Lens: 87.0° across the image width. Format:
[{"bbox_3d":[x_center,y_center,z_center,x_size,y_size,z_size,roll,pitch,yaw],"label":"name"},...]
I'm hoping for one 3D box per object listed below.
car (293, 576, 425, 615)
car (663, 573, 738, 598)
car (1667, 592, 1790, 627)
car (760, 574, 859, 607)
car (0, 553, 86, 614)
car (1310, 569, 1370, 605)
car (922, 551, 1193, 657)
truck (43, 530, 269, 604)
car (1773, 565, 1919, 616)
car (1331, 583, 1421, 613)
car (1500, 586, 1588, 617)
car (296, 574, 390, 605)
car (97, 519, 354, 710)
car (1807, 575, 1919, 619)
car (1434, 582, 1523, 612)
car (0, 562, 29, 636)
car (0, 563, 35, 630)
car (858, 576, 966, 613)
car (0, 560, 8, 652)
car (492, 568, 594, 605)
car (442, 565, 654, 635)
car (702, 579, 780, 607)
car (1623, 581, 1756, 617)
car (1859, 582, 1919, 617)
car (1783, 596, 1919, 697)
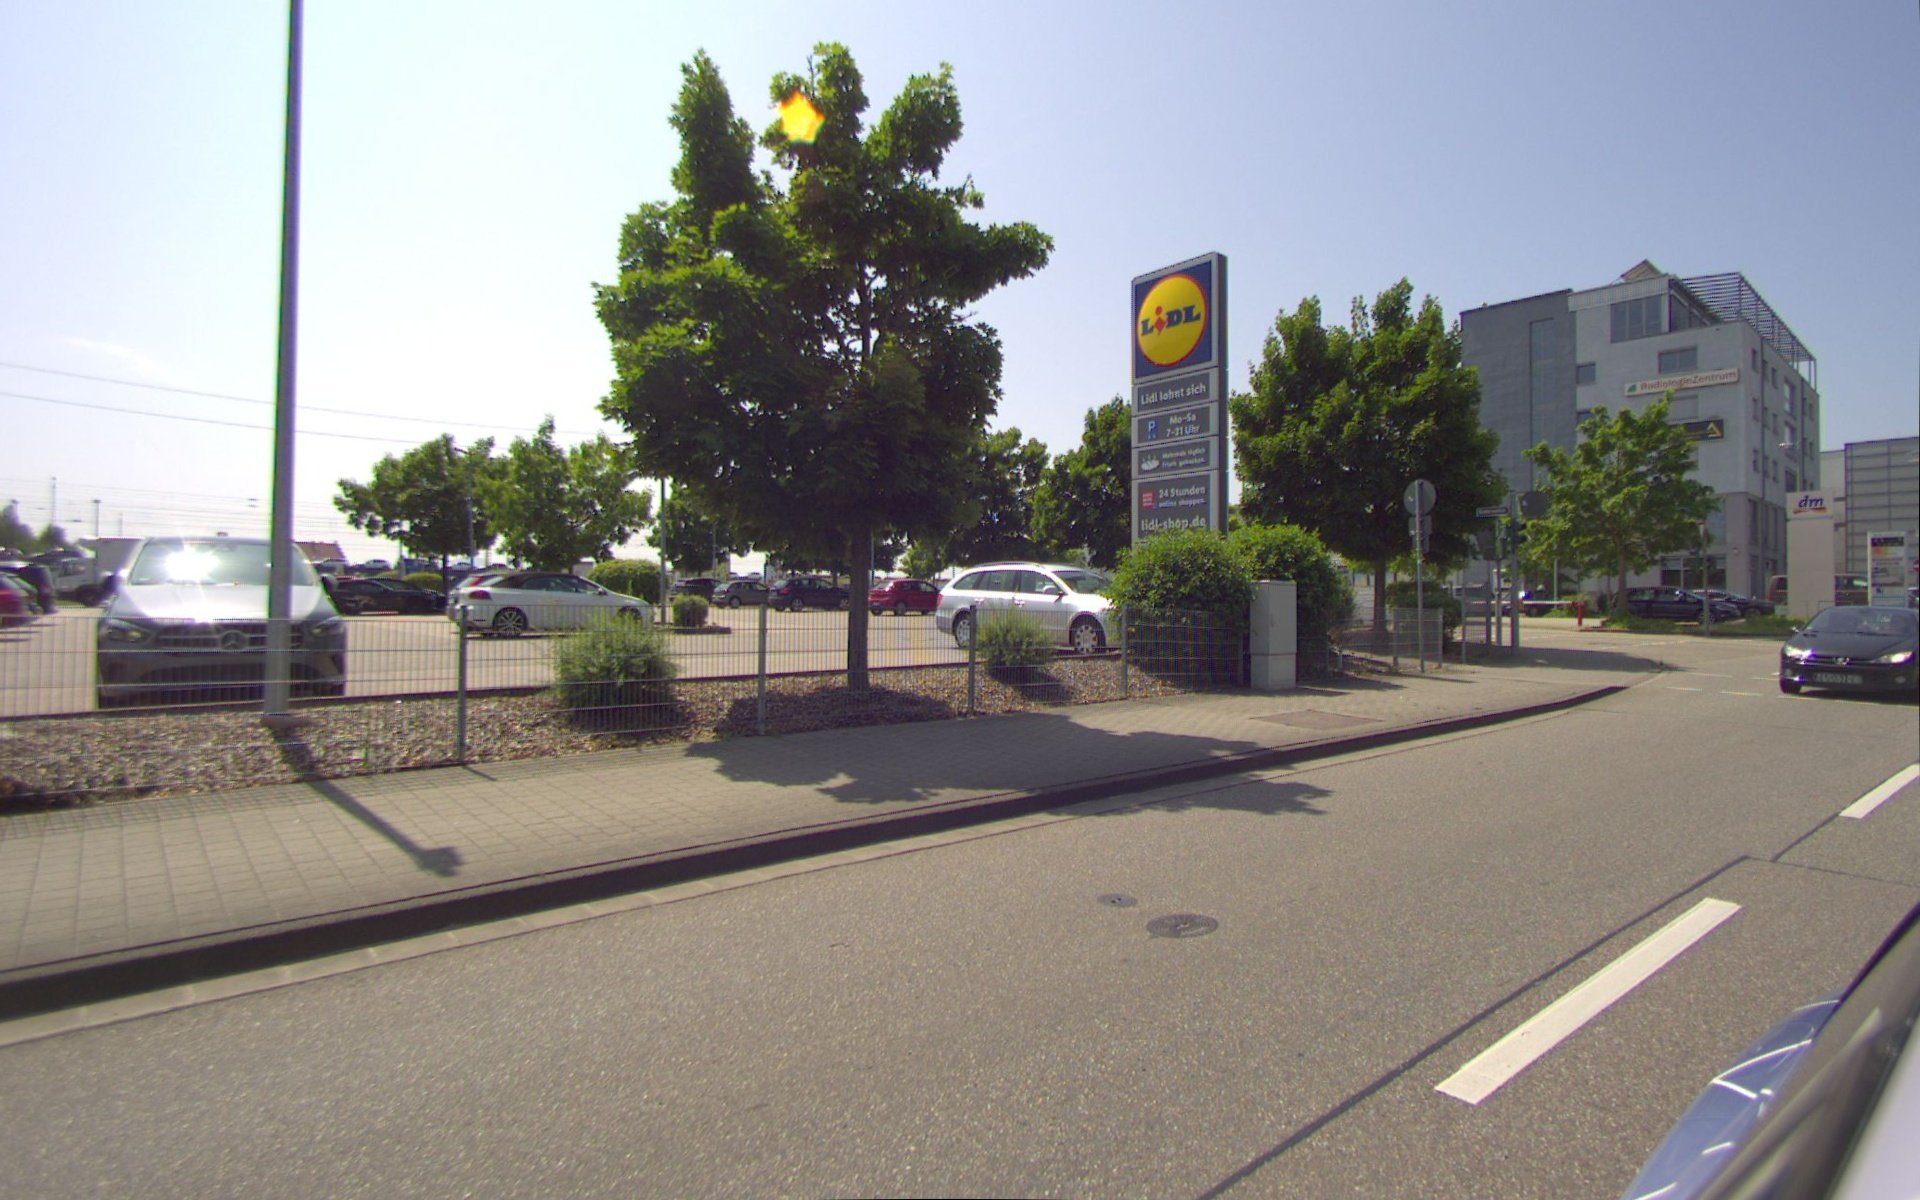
[{"bbox_3d":[-22.894,-0.186,38.607,4.140,1.407,1.634,0,1,-40],"label":"car"},{"bbox_3d":[-14.528,-0.815,56.724,3.690,1.306,1.651,0,1,-42],"label":"car"},{"bbox_3d":[32.243,0.362,42.514,1.726,1.356,3.877,0,1,-41],"label":"car"},{"bbox_3d":[-6.968,-0.433,47.140,4.243,1.468,1.710,0,1,-36],"label":"car"},{"bbox_3d":[-27.396,-0.474,28.739,3.786,1.705,1.785,0,0,-38],"label":"car"},{"bbox_3d":[25.423,-0.860,67.756,3.359,2.221,1.675,1,-2,-9],"label":"car"},{"bbox_3d":[1.465,0.053,16.769,1.668,1.524,4.583,1,0,-41],"label":"car"},{"bbox_3d":[-45.386,-1.783,57.640,9.845,3.885,2.859,0,1,-37],"label":"truck"},{"bbox_3d":[36.707,-0.343,41.573,2.142,1.821,4.706,1,-3,-36],"label":"car"},{"bbox_3d":[24.385,-0.110,59.371,4.647,1.734,2.004,0,-1,-18],"label":"car"},{"bbox_3d":[30.596,0.061,53.060,3.916,1.504,2.004,1,1,-22],"label":"car"},{"bbox_3d":[-27.188,-0.465,44.608,3.371,1.269,1.471,0,1,-40],"label":"car"},{"bbox_3d":[-7.151,0.110,9.811,1.667,1.439,4.180,1,0,-38],"label":"car"},{"bbox_3d":[39.566,-0.122,43.517,1.963,1.721,4.419,-1,-2,-38],"label":"car"},{"bbox_3d":[28.041,-0.166,54.789,4.105,1.620,1.676,0,0,-12],"label":"car"},{"bbox_3d":[-20.400,-0.043,19.247,3.932,1.438,1.731,0,1,-43],"label":"car"},{"bbox_3d":[-23.663,-0.102,23.096,3.707,1.527,1.784,0,1,-41],"label":"car"},{"bbox_3d":[-1.938,-0.217,41.343,4.068,1.404,1.997,0,-1,-40],"label":"car"},{"bbox_3d":[-17.045,0.067,15.201,3.932,1.438,1.731,0,1,-43],"label":"car"},{"bbox_3d":[-17.810,-0.579,43.265,3.730,1.496,1.635,0,1,-37],"label":"car"},{"bbox_3d":[-9.027,-0.044,22.339,4.009,1.411,1.738,-1,2,-41],"label":"car"},{"bbox_3d":[-11.452,-0.376,53.040,3.549,1.407,1.788,0,1,-42],"label":"car"},{"bbox_3d":[28.849,-0.071,40.118,1.831,1.356,3.993,0,1,-41],"label":"car"},{"bbox_3d":[45.735,-0.029,47.908,2.059,1.630,4.471,0,-1,-40],"label":"car"},{"bbox_3d":[14.324,0.651,15.686,3.434,1.373,1.642,0,1,-37],"label":"car"}]
